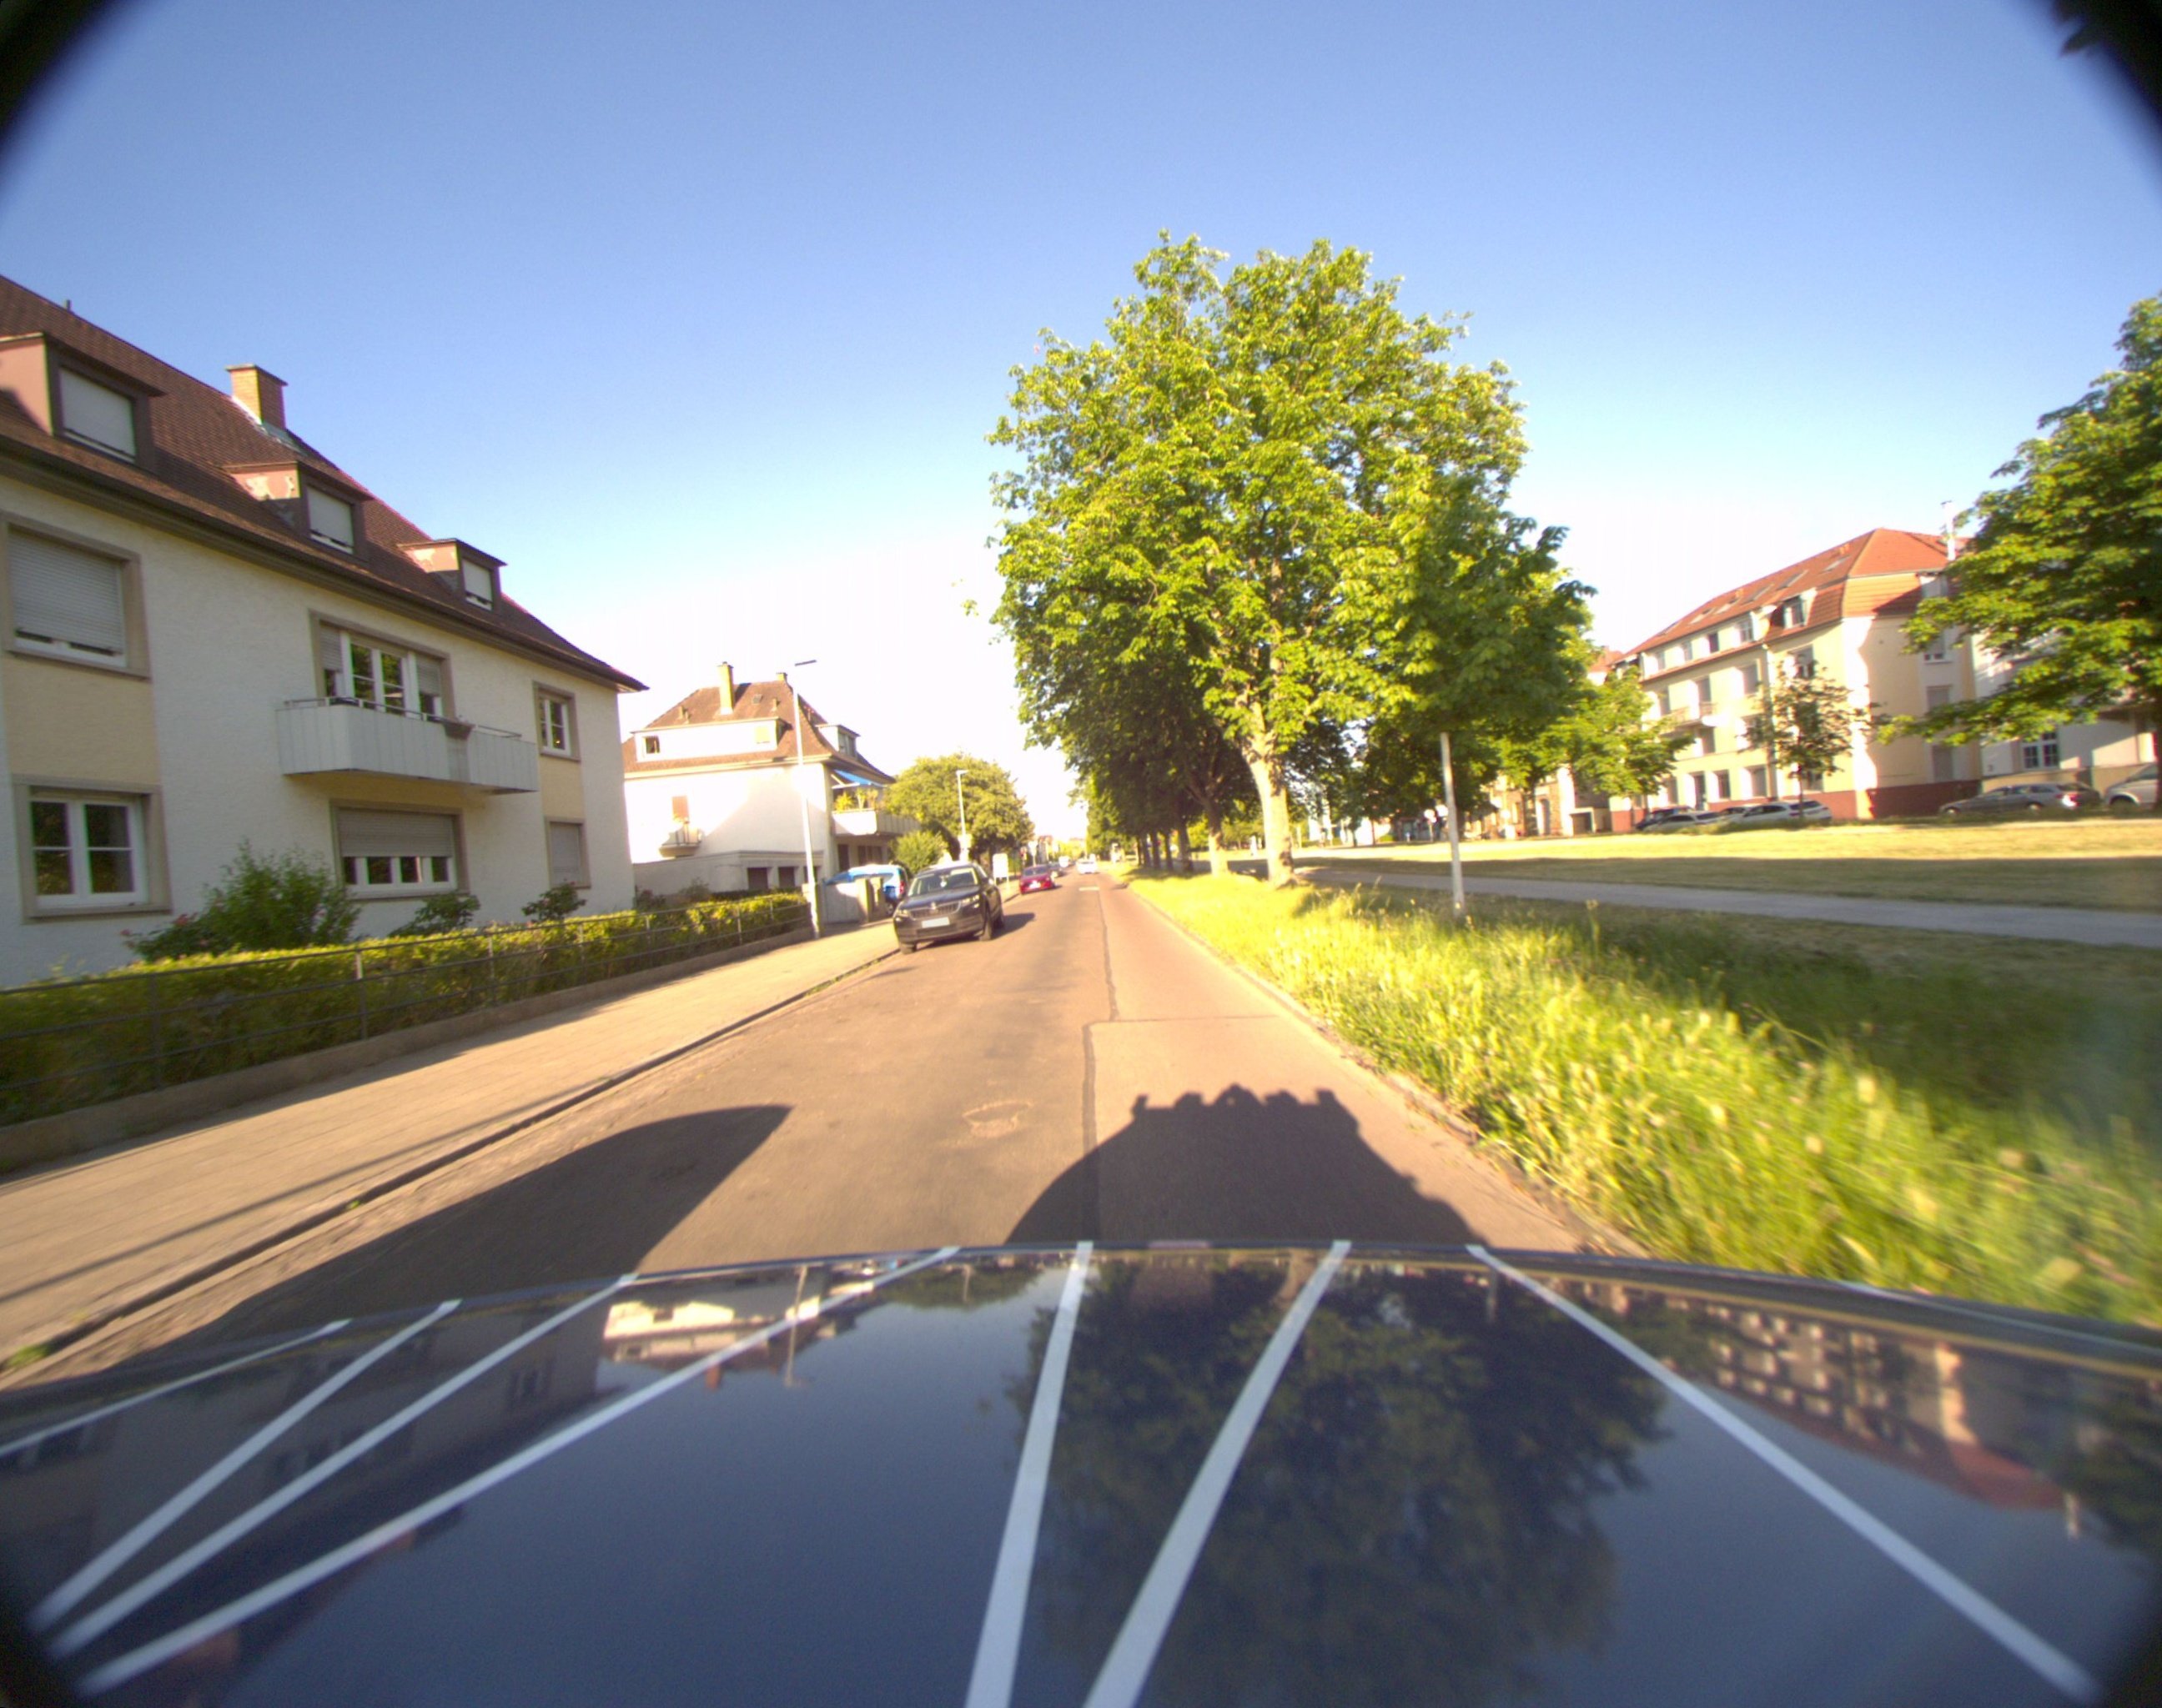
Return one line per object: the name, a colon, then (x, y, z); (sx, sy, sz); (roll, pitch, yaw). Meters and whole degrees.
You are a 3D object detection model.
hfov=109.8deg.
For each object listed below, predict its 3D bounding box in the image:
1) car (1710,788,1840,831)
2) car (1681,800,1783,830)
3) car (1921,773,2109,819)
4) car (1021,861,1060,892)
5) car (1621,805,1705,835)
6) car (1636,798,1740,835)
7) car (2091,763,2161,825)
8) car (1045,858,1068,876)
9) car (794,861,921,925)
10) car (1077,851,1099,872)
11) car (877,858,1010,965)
car: (34.442, -2.161, 37.911); (1.998, 1.680, 4.876); (-5, 0, 1)
car: (40.275, -2.365, 47.168); (1.999, 1.445, 4.875); (-5, 0, -1)
car: (40.055, -2.445, 32.837); (1.999, 1.445, 4.875); (-5, 0, -1)
car: (-2.244, 1.216, 42.634); (1.824, 1.486, 4.224); (-5, 0, 0)
car: (40.615, -2.320, 53.186); (1.999, 1.680, 4.875); (-5, 0, -1)
car: (34.511, -2.076, 43.385); (1.998, 1.680, 4.876); (-5, 0, 1)
car: (40.239, -2.298, 27.087); (1.998, 2.189, 4.876); (-5, 0, 3)
car: (-2.436, 1.277, 76.622); (1.998, 1.575, 4.347); (-4, 0, 1)
car: (-8.145, 1.387, 28.001); (3.998, 1.917, 2.000); (-5, 0, -2)
car: (0.743, 0.759, 78.643); (1.998, 2.002, 4.000); (-6, 0, 1)
car: (-2.806, 1.088, 16.553); (1.862, 1.710, 4.467); (-10, 0, -1)
